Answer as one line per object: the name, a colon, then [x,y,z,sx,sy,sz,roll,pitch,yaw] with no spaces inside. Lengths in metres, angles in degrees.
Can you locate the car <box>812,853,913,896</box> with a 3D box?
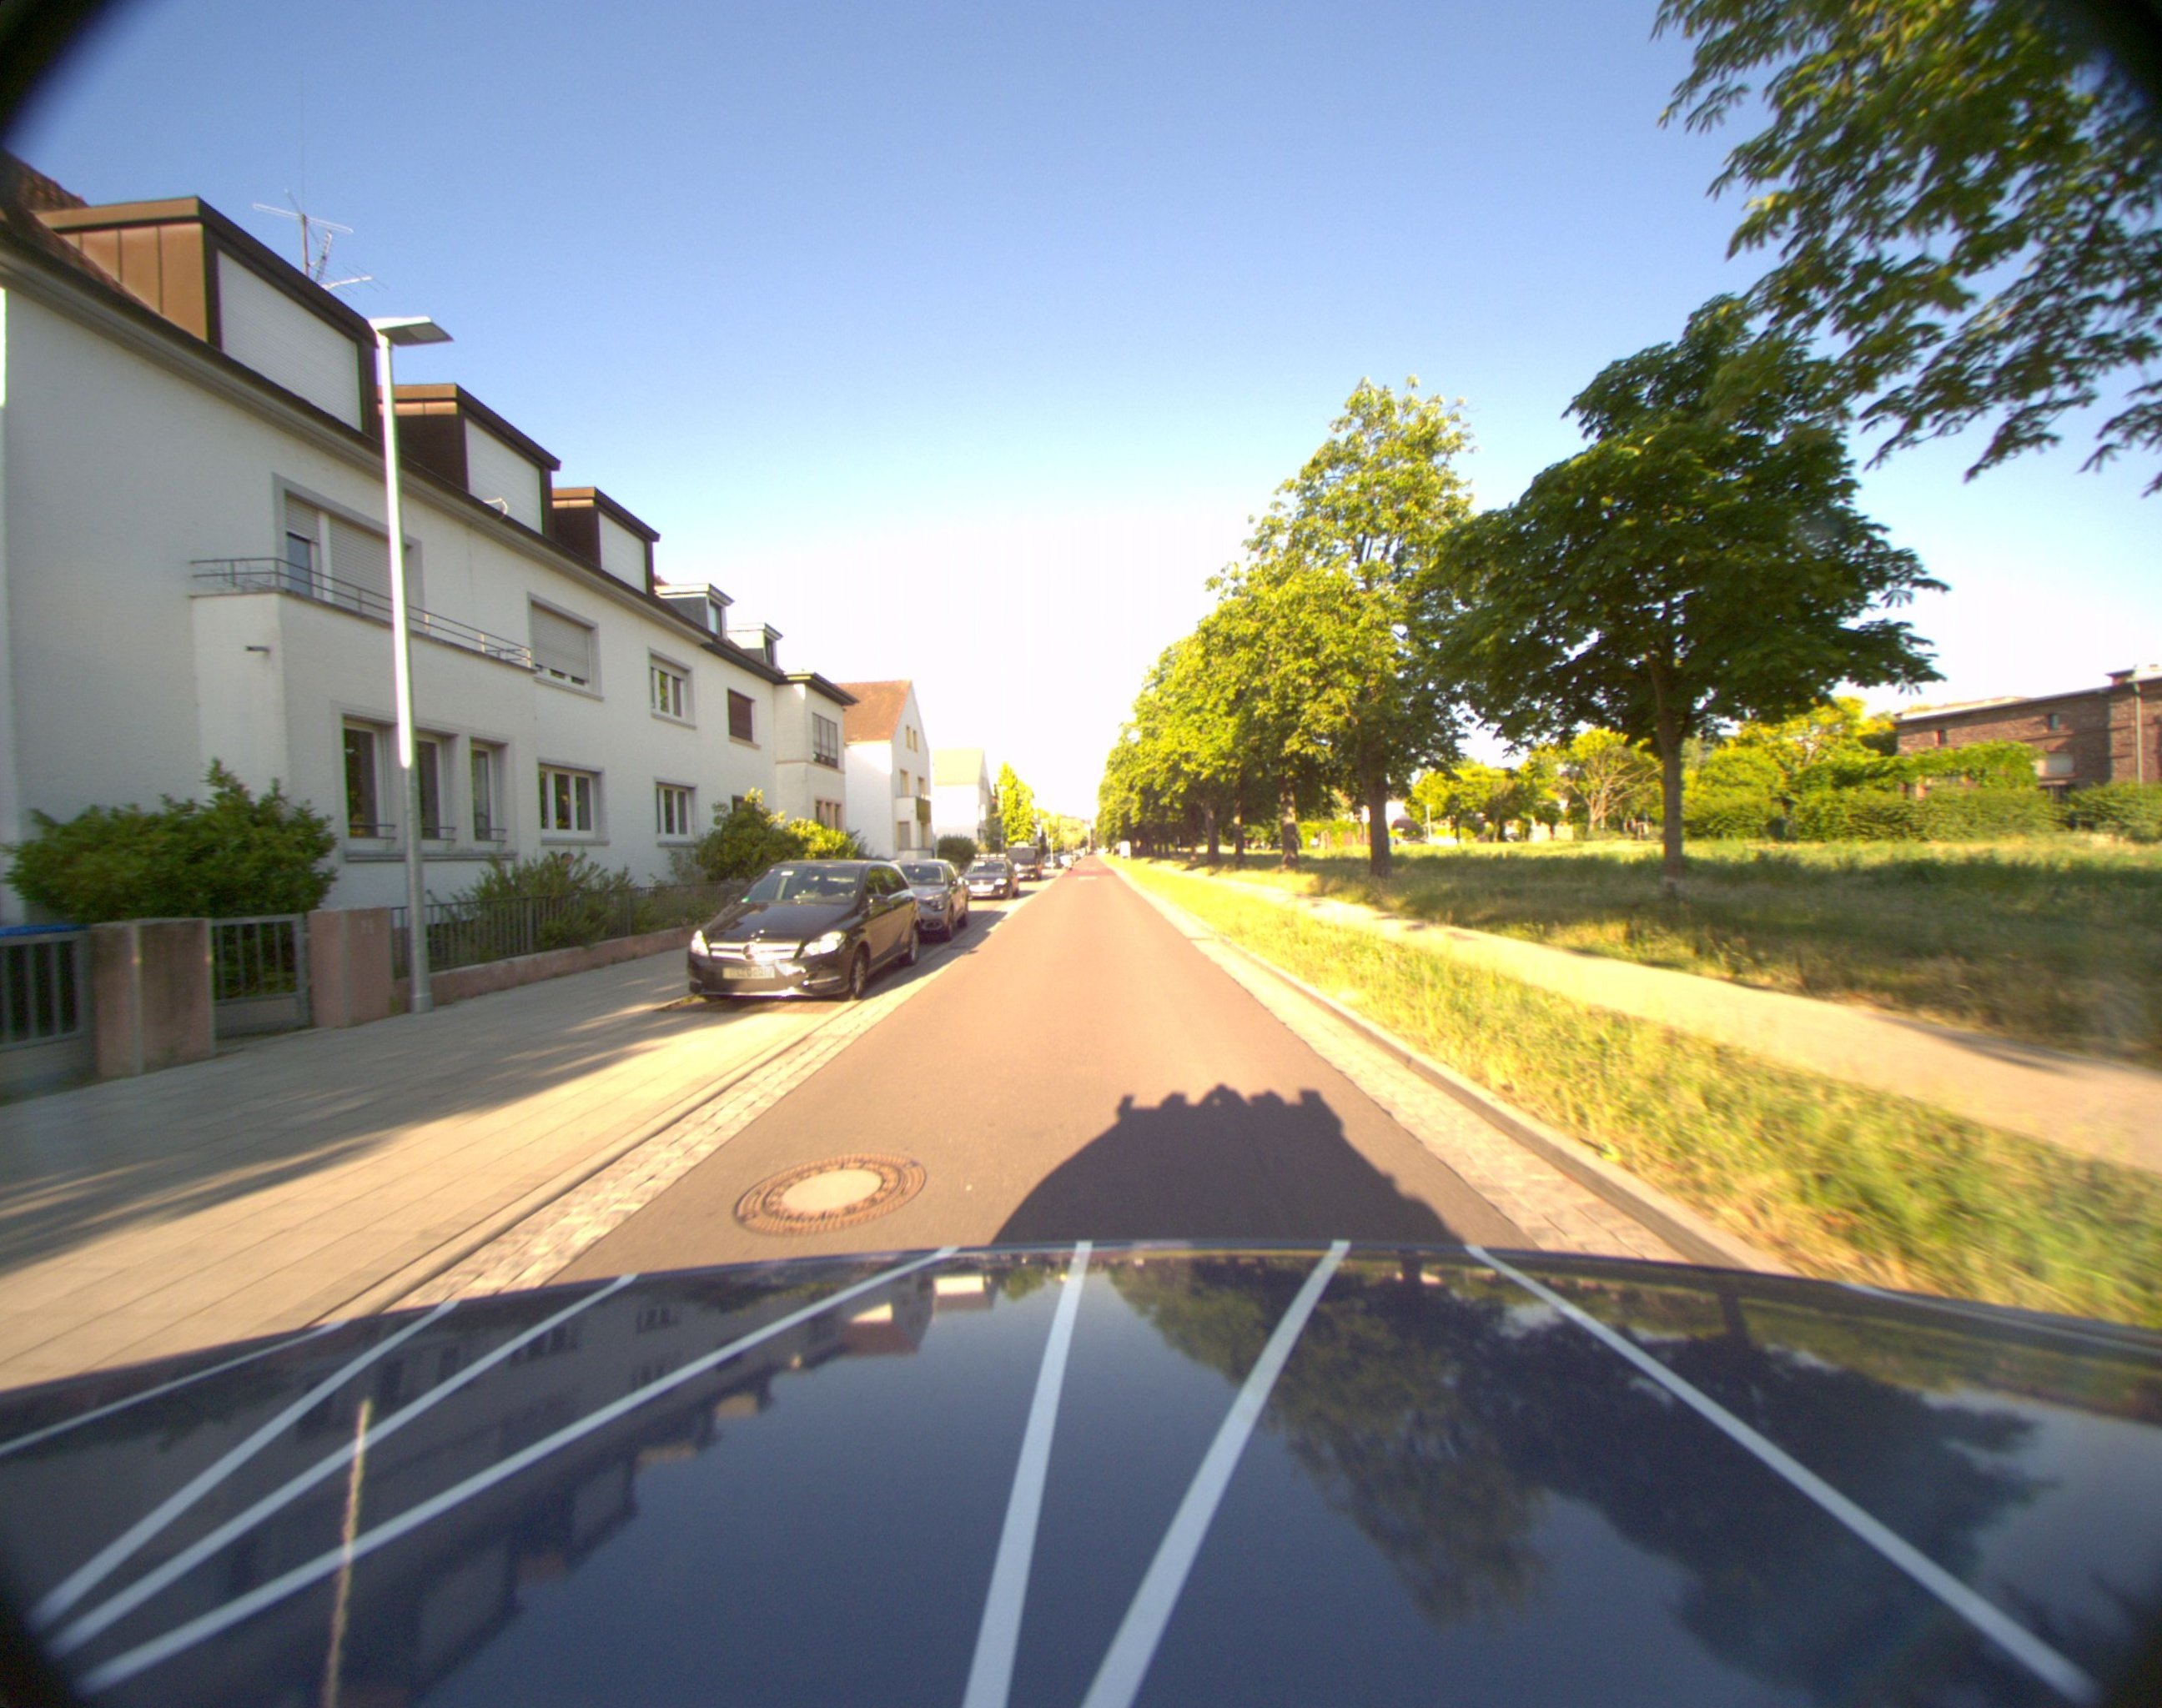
car: [-10.360,0.965,36.257,4.228,1.716,1.852,-3,1,-2]

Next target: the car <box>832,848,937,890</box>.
car: [-8.745,0.640,34.123,4.228,1.716,1.852,-2,1,-2]

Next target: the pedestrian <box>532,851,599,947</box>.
pedestrian: [-8.856,0.761,13.063,0.595,1.569,0.631,-3,2,27]

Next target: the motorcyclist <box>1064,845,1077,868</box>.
motorcyclist: [-0.935,0.206,66.054,0.961,2.002,1.273,-4,1,0]

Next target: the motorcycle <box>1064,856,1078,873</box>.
motorcycle: [-0.867,0.871,66.022,1.077,1.373,2.463,-4,1,0]

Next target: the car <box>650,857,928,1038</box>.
car: [-3.377,0.950,9.827,1.837,1.675,4.414,1,1,1]

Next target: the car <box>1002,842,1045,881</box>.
car: [-3.226,0.380,43.551,1.910,2.119,4.814,0,0,2]

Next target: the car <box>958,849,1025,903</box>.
car: [-3.107,0.724,27.175,1.798,1.761,4.472,0,0,1]

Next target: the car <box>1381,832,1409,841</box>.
car: [49.511,-2.722,119.913,3.636,1.273,1.586,-3,1,2]

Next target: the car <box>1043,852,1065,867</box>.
car: [-2.604,0.526,73.760,1.798,1.474,4.124,0,0,2]

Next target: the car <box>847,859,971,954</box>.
car: [-3.317,0.939,15.469,1.722,1.565,4.208,0,1,-2]

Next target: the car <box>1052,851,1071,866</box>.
car: [-2.206,0.565,88.221,1.910,1.698,4.576,0,0,3]

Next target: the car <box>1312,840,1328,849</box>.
car: [44.493,-1.797,141.593,1.766,1.619,4.000,-3,0,1]

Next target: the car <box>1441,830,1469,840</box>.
car: [59.477,-3.003,120.855,3.636,1.273,1.586,-3,1,2]

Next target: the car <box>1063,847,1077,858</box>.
car: [-1.750,-0.234,122.471,1.910,1.698,4.576,0,0,3]
